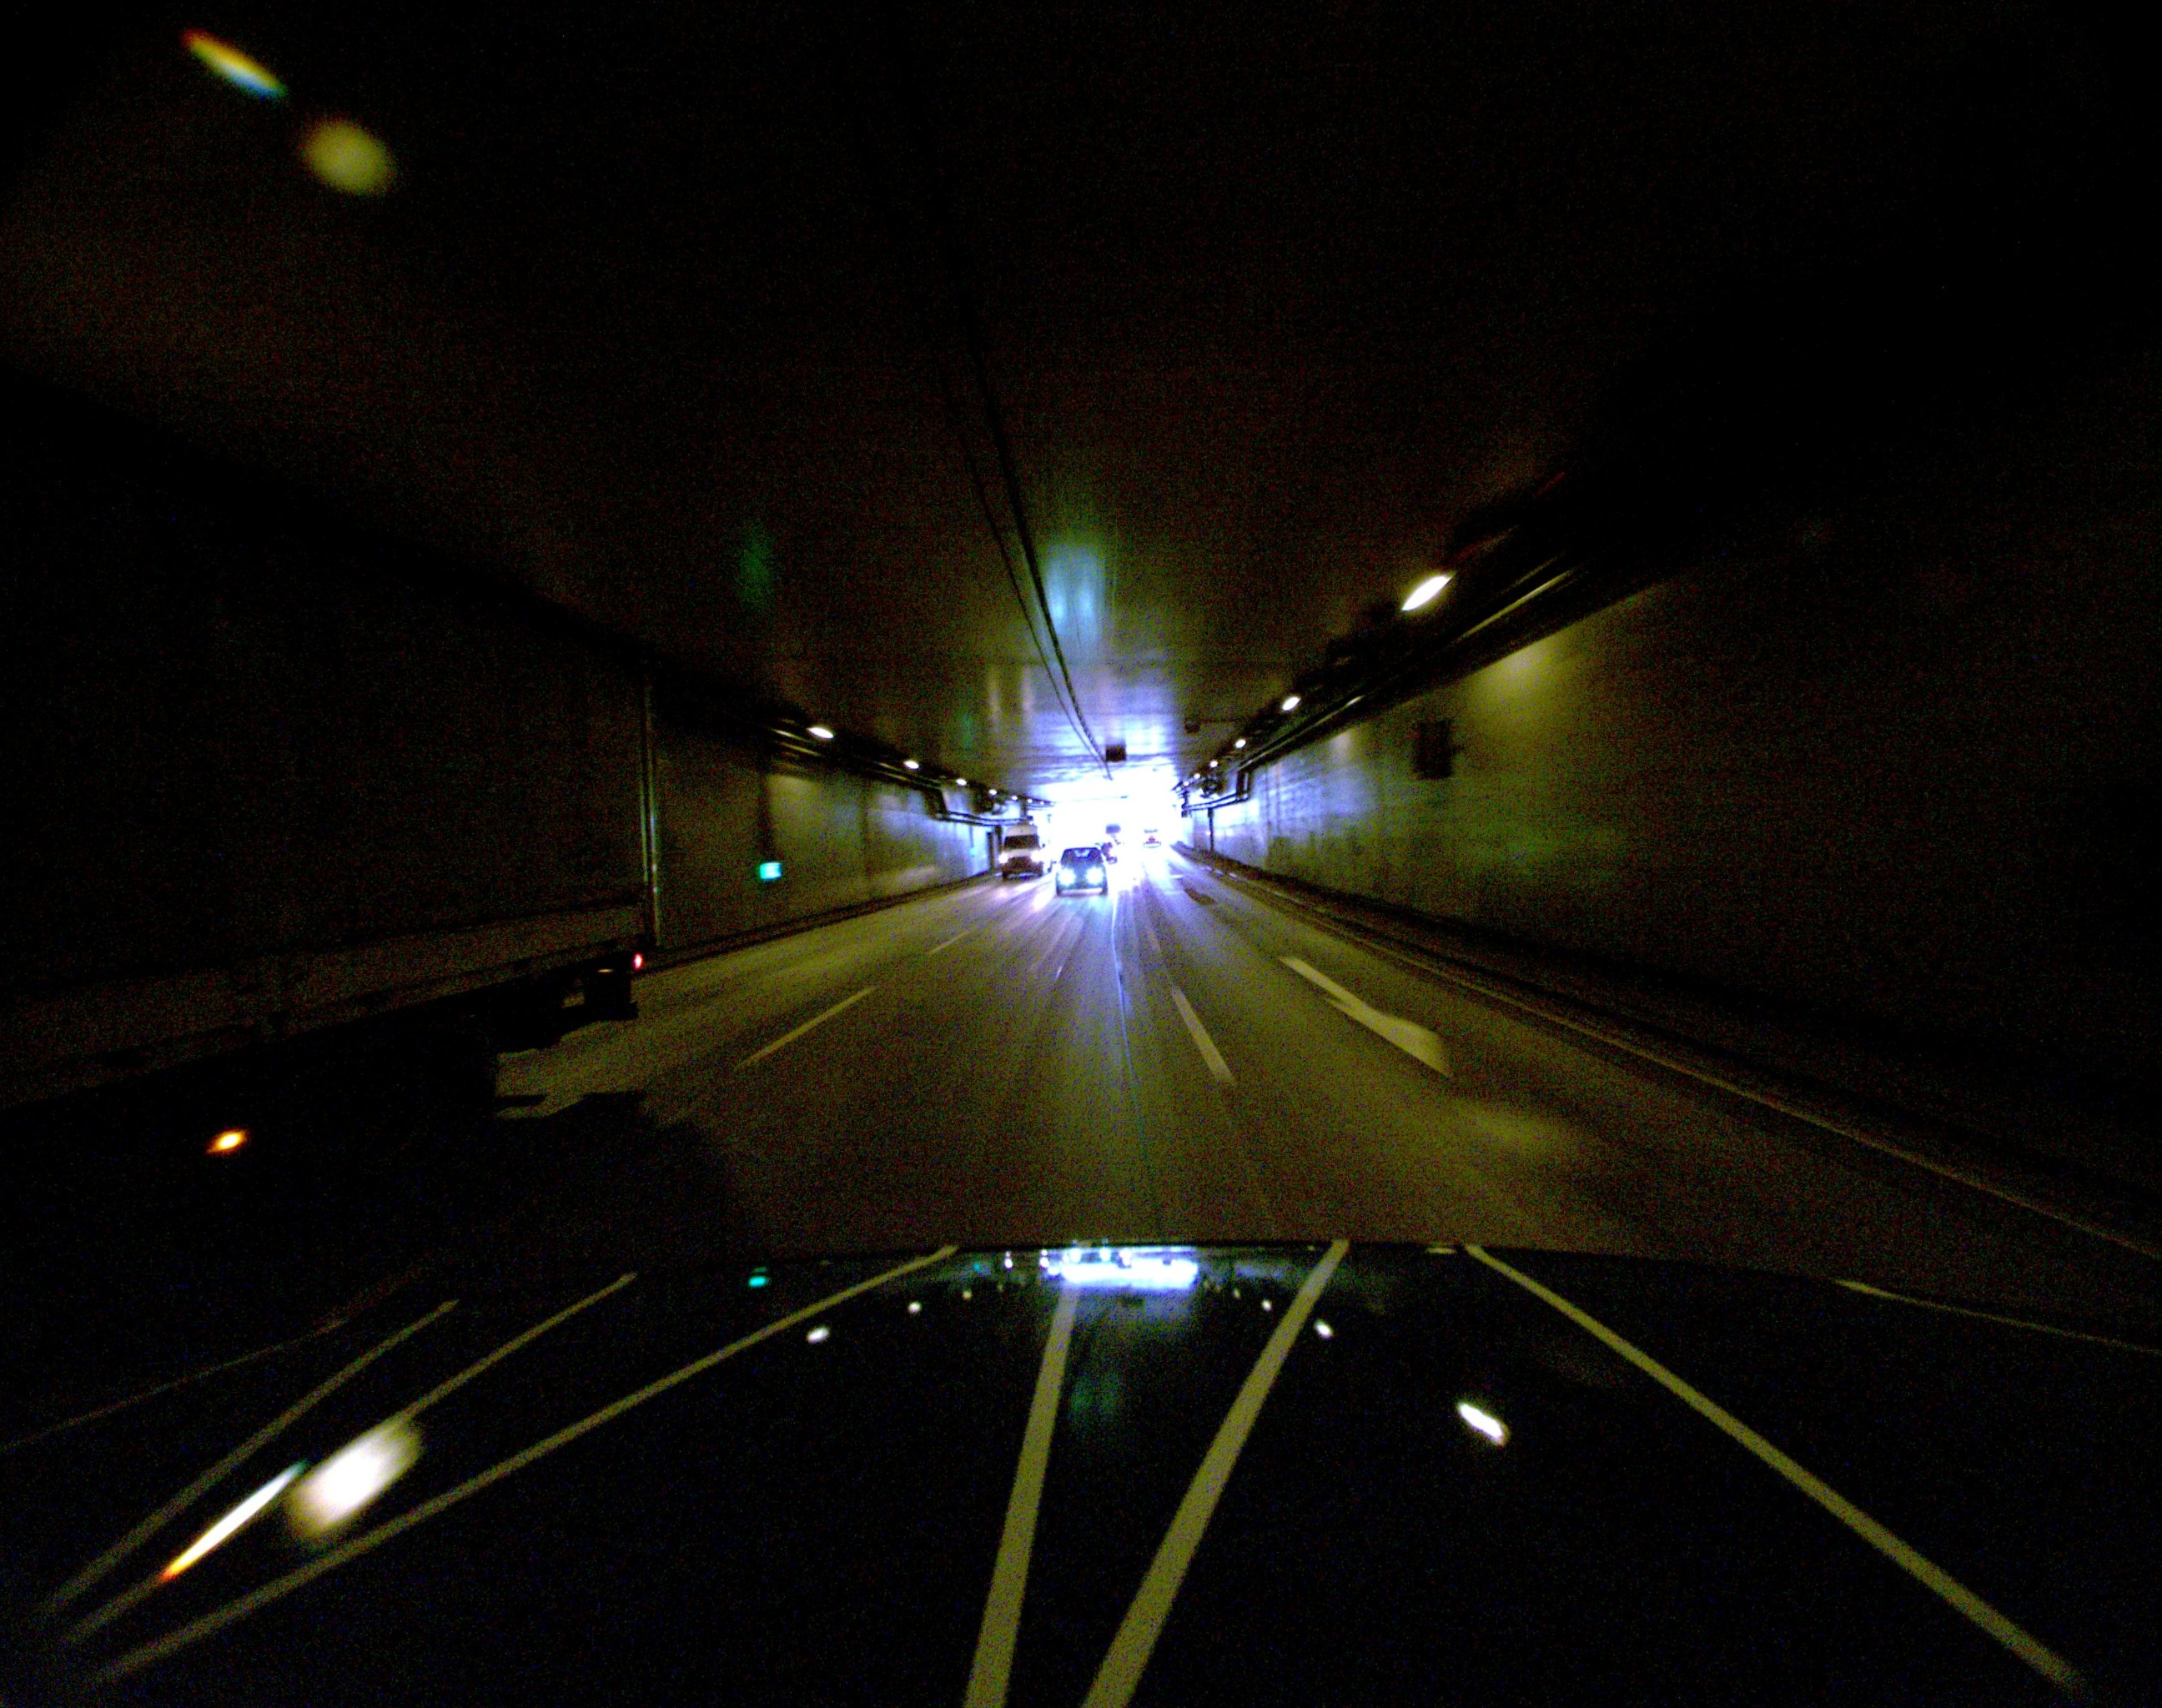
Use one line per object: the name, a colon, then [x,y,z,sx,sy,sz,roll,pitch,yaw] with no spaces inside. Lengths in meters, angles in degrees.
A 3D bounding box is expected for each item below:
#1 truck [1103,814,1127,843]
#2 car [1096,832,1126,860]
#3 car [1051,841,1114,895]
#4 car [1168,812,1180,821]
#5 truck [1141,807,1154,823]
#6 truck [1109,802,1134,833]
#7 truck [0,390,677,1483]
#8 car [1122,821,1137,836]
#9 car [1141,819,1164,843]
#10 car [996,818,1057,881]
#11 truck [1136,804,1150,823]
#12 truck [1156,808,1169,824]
truck: [3.335,-2.606,75.113,2.073,2.526,6.020,-5,4,3]
car: [1.929,-0.514,48.866,1.764,1.552,3.818,-4,1,2]
car: [0.131,0.416,25.312,1.638,1.552,3.717,-3,2,6]
car: [17.843,-7.174,145.818,1.949,1.526,3.998,-5,5,5]
truck: [14.106,-8.235,160.160,2.493,3.122,6.374,-4,4,6]
truck: [6.637,-5.962,122.109,2.885,4.449,10.452,-4,4,8]
truck: [-4.415,0.260,2.157,2.560,3.163,7.244,-2,1,-1]
car: [5.939,-3.136,93.032,1.638,1.662,3.715,-4,4,6]
car: [6.596,-2.139,70.197,1.934,1.919,4.196,-4,3,6]
car: [-2.669,-0.361,39.231,2.106,2.832,6.858,-3,3,3]
truck: [12.222,-7.972,149.316,2.493,3.371,6.374,-4,4,6]
truck: [15.916,-7.495,148.560,2.138,2.714,5.669,-4,4,6]
